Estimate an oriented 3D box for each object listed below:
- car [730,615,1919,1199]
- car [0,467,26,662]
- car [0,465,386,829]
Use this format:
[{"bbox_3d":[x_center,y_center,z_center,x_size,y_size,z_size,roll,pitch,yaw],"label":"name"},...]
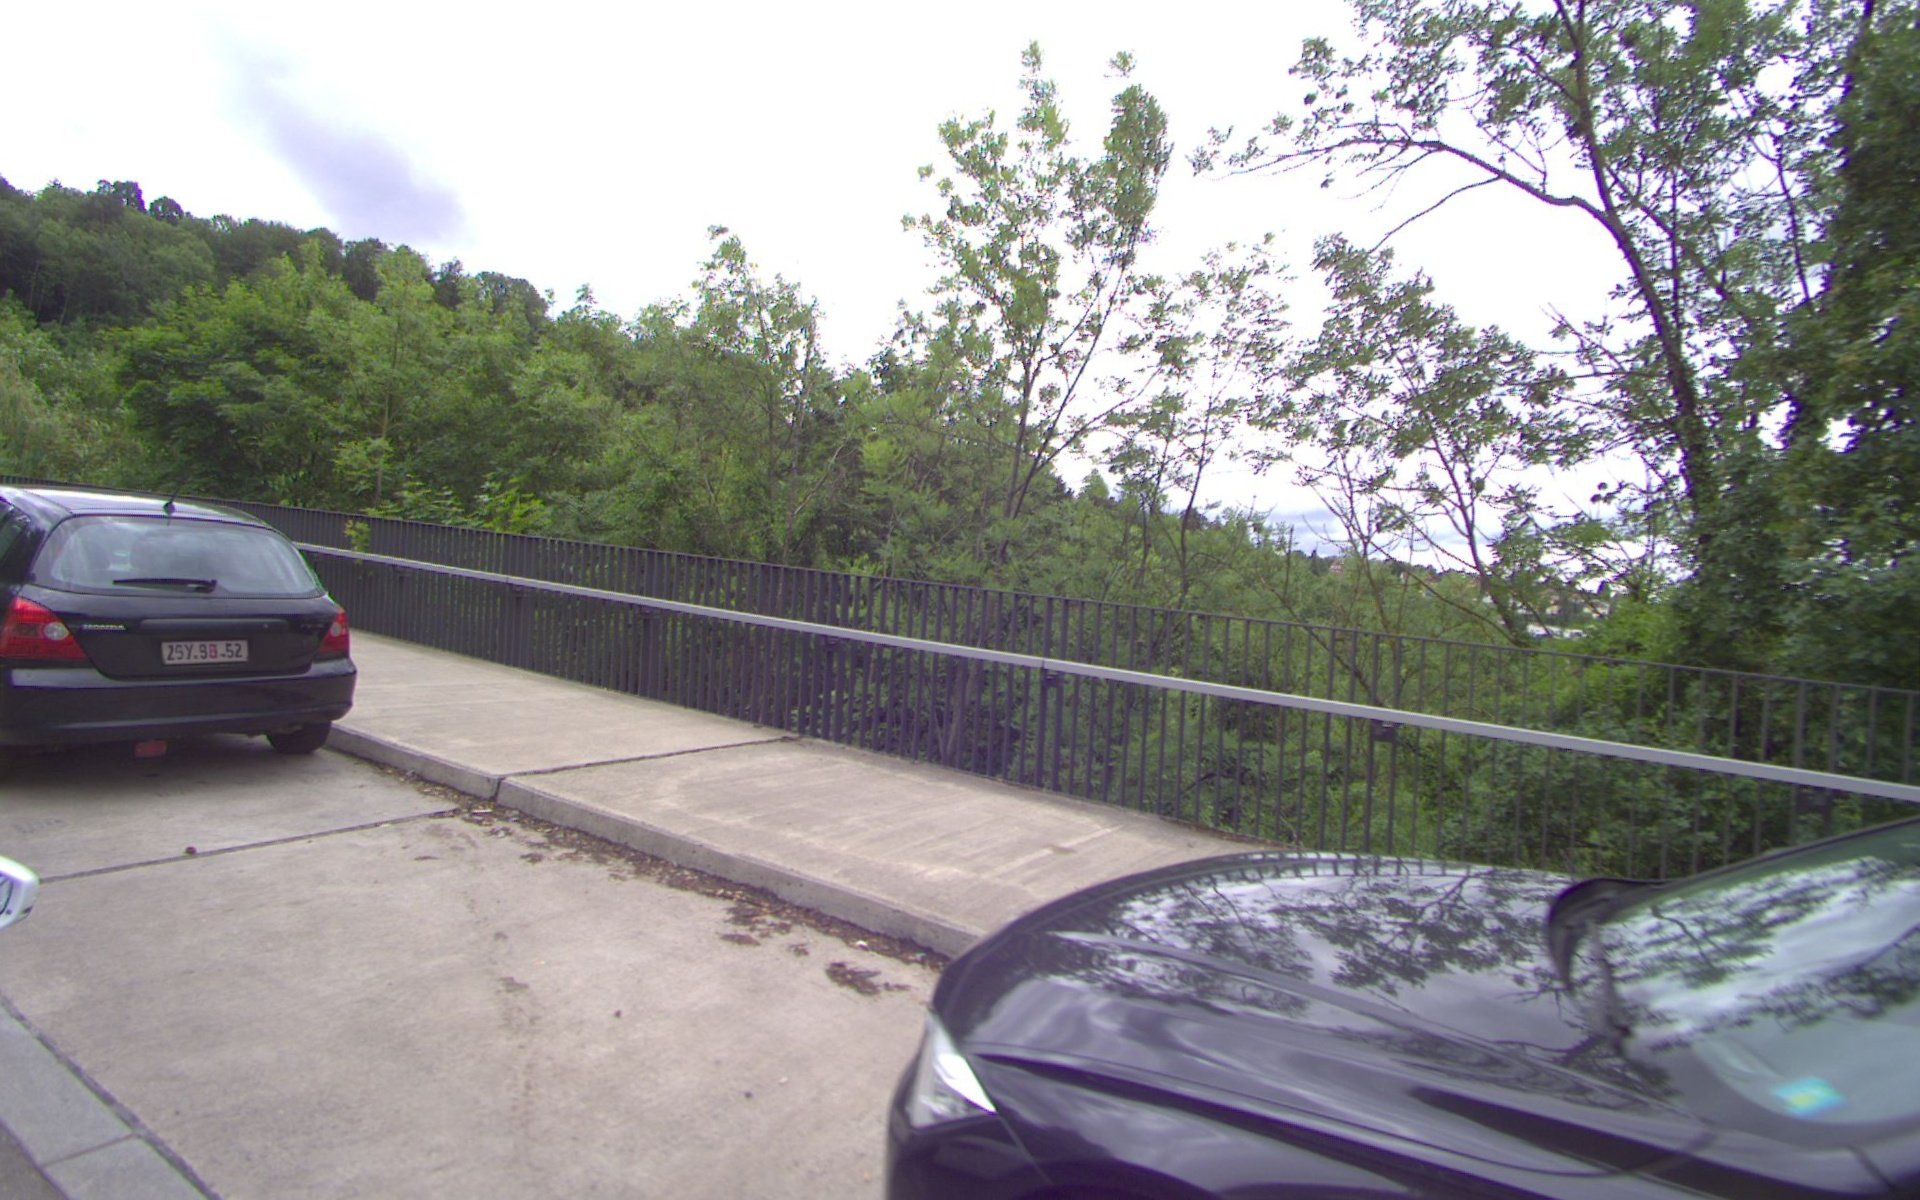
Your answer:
[{"bbox_3d":[1.878,0.957,1.527,4.247,1.420,1.823,7,3,31],"label":"car"},{"bbox_3d":[-10.121,-0.521,8.769,4.548,1.589,1.727,6,2,32],"label":"car"},{"bbox_3d":[-5.514,0.013,6.152,4.185,1.594,1.659,7,4,32],"label":"car"}]
